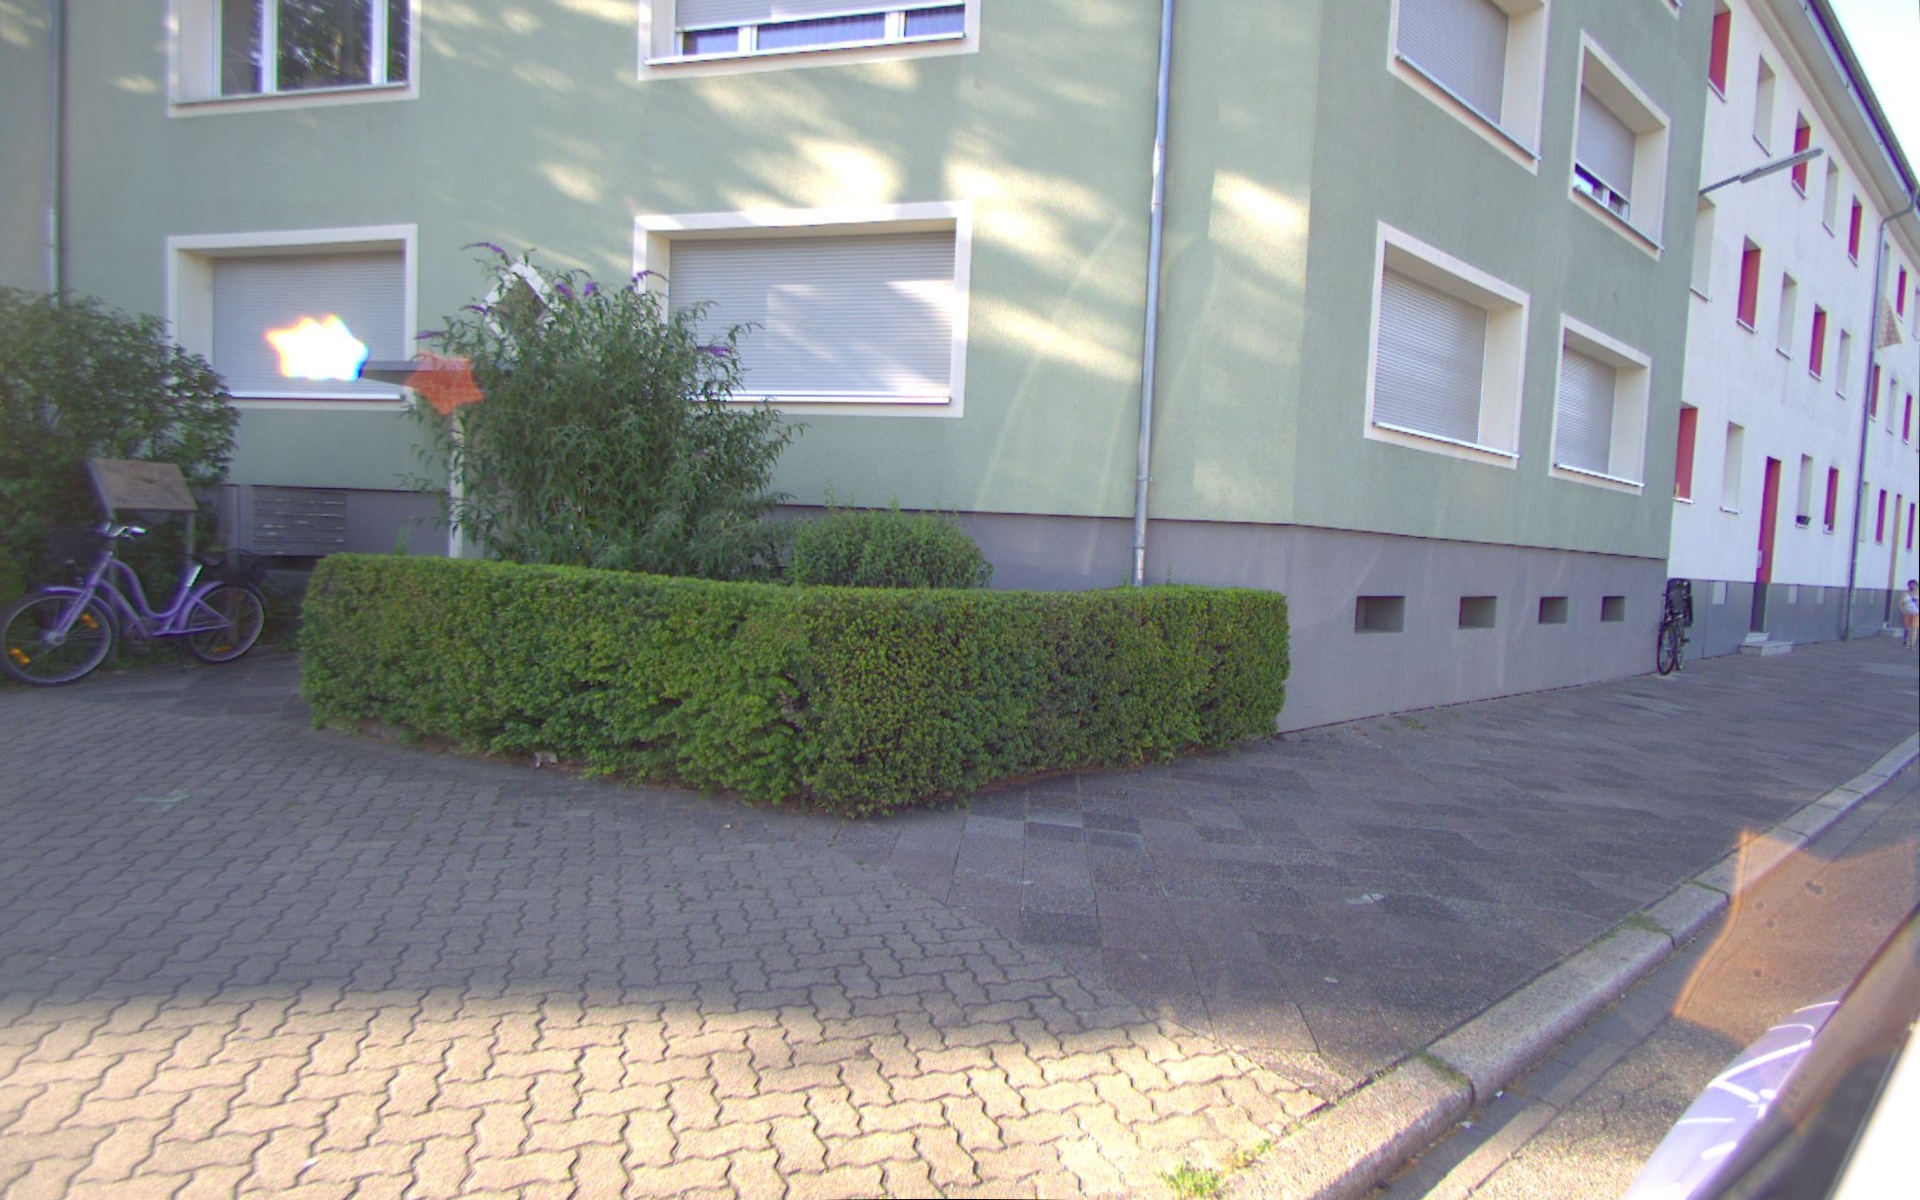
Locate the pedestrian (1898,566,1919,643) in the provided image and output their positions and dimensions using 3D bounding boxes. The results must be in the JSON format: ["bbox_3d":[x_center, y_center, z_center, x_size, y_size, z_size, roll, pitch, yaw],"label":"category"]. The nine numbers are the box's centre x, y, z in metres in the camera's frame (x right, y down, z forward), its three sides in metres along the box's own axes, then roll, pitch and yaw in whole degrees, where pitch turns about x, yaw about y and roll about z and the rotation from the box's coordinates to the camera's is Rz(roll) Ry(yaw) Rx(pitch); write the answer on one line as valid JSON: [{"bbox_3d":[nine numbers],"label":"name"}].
[{"bbox_3d":[22.232,0.120,23.244,0.933,1.727,0.787,0,4,-41],"label":"pedestrian"}]

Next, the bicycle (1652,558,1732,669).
[{"bbox_3d":[10.137,0.162,13.991,1.843,1.429,0.517,-1,4,-44],"label":"bicycle"}]

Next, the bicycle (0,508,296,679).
[{"bbox_3d":[-5.906,-0.085,7.290,0.515,1.069,1.920,3,3,22],"label":"bicycle"}]

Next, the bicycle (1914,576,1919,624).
[{"bbox_3d":[29.435,0.014,30.740,1.843,1.429,0.517,-1,4,-44],"label":"bicycle"}]
